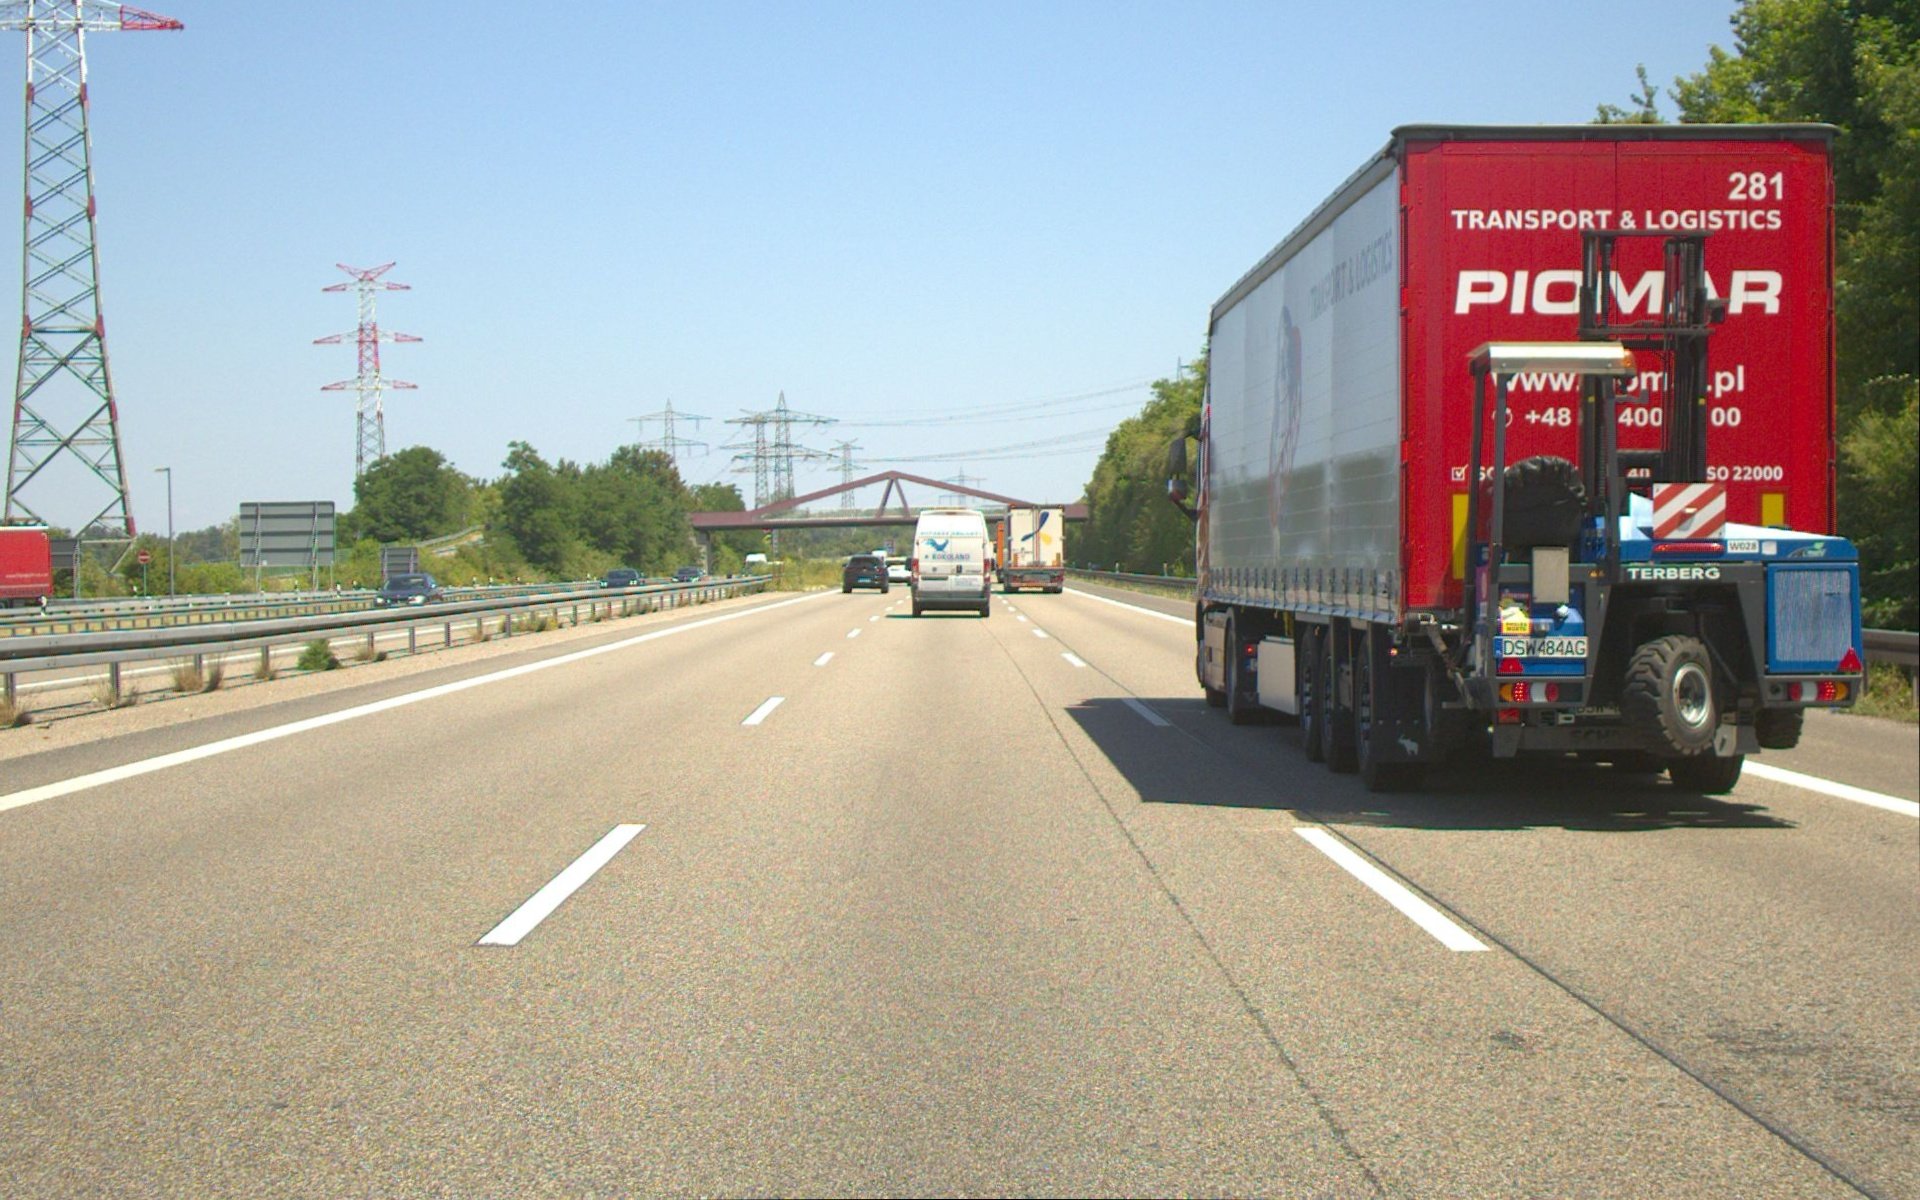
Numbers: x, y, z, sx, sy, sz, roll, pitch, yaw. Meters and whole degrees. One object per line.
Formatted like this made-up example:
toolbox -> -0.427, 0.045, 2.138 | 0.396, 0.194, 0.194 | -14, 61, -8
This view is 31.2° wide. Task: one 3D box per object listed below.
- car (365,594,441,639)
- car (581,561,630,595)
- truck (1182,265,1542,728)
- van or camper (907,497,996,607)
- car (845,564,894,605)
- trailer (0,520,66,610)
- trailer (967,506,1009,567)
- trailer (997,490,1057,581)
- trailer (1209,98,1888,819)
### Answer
car -> -18.088, 0.530, 111.786 | 1.742, 1.272, 4.318 | -3, 1, 0
car -> -17.645, -1.108, 171.293 | 1.972, 1.641, 5.017 | 1, 1, -1
truck -> 3.623, -0.915, 32.595 | 2.499, 3.906, 7.097 | 0, 1, -1
van or camper -> -0.231, -1.263, 90.570 | 2.230, 2.772, 5.423 | 1, 1, 0
car -> -4.080, -0.704, 155.169 | 1.982, 1.811, 3.812 | 1, 1, 2
trailer -> -45.278, -1.587, 153.102 | 3.127, 4.041, 11.291 | 1, 1, 34
trailer -> 1.845, -4.155, 225.622 | 2.637, 3.883, 7.068 | 1, 1, 1
trailer -> 3.078, -2.995, 160.892 | 2.637, 4.046, 12.366 | 1, 1, 1
trailer -> 3.700, -0.853, 25.729 | 2.490, 3.896, 14.247 | 0, 1, -1
